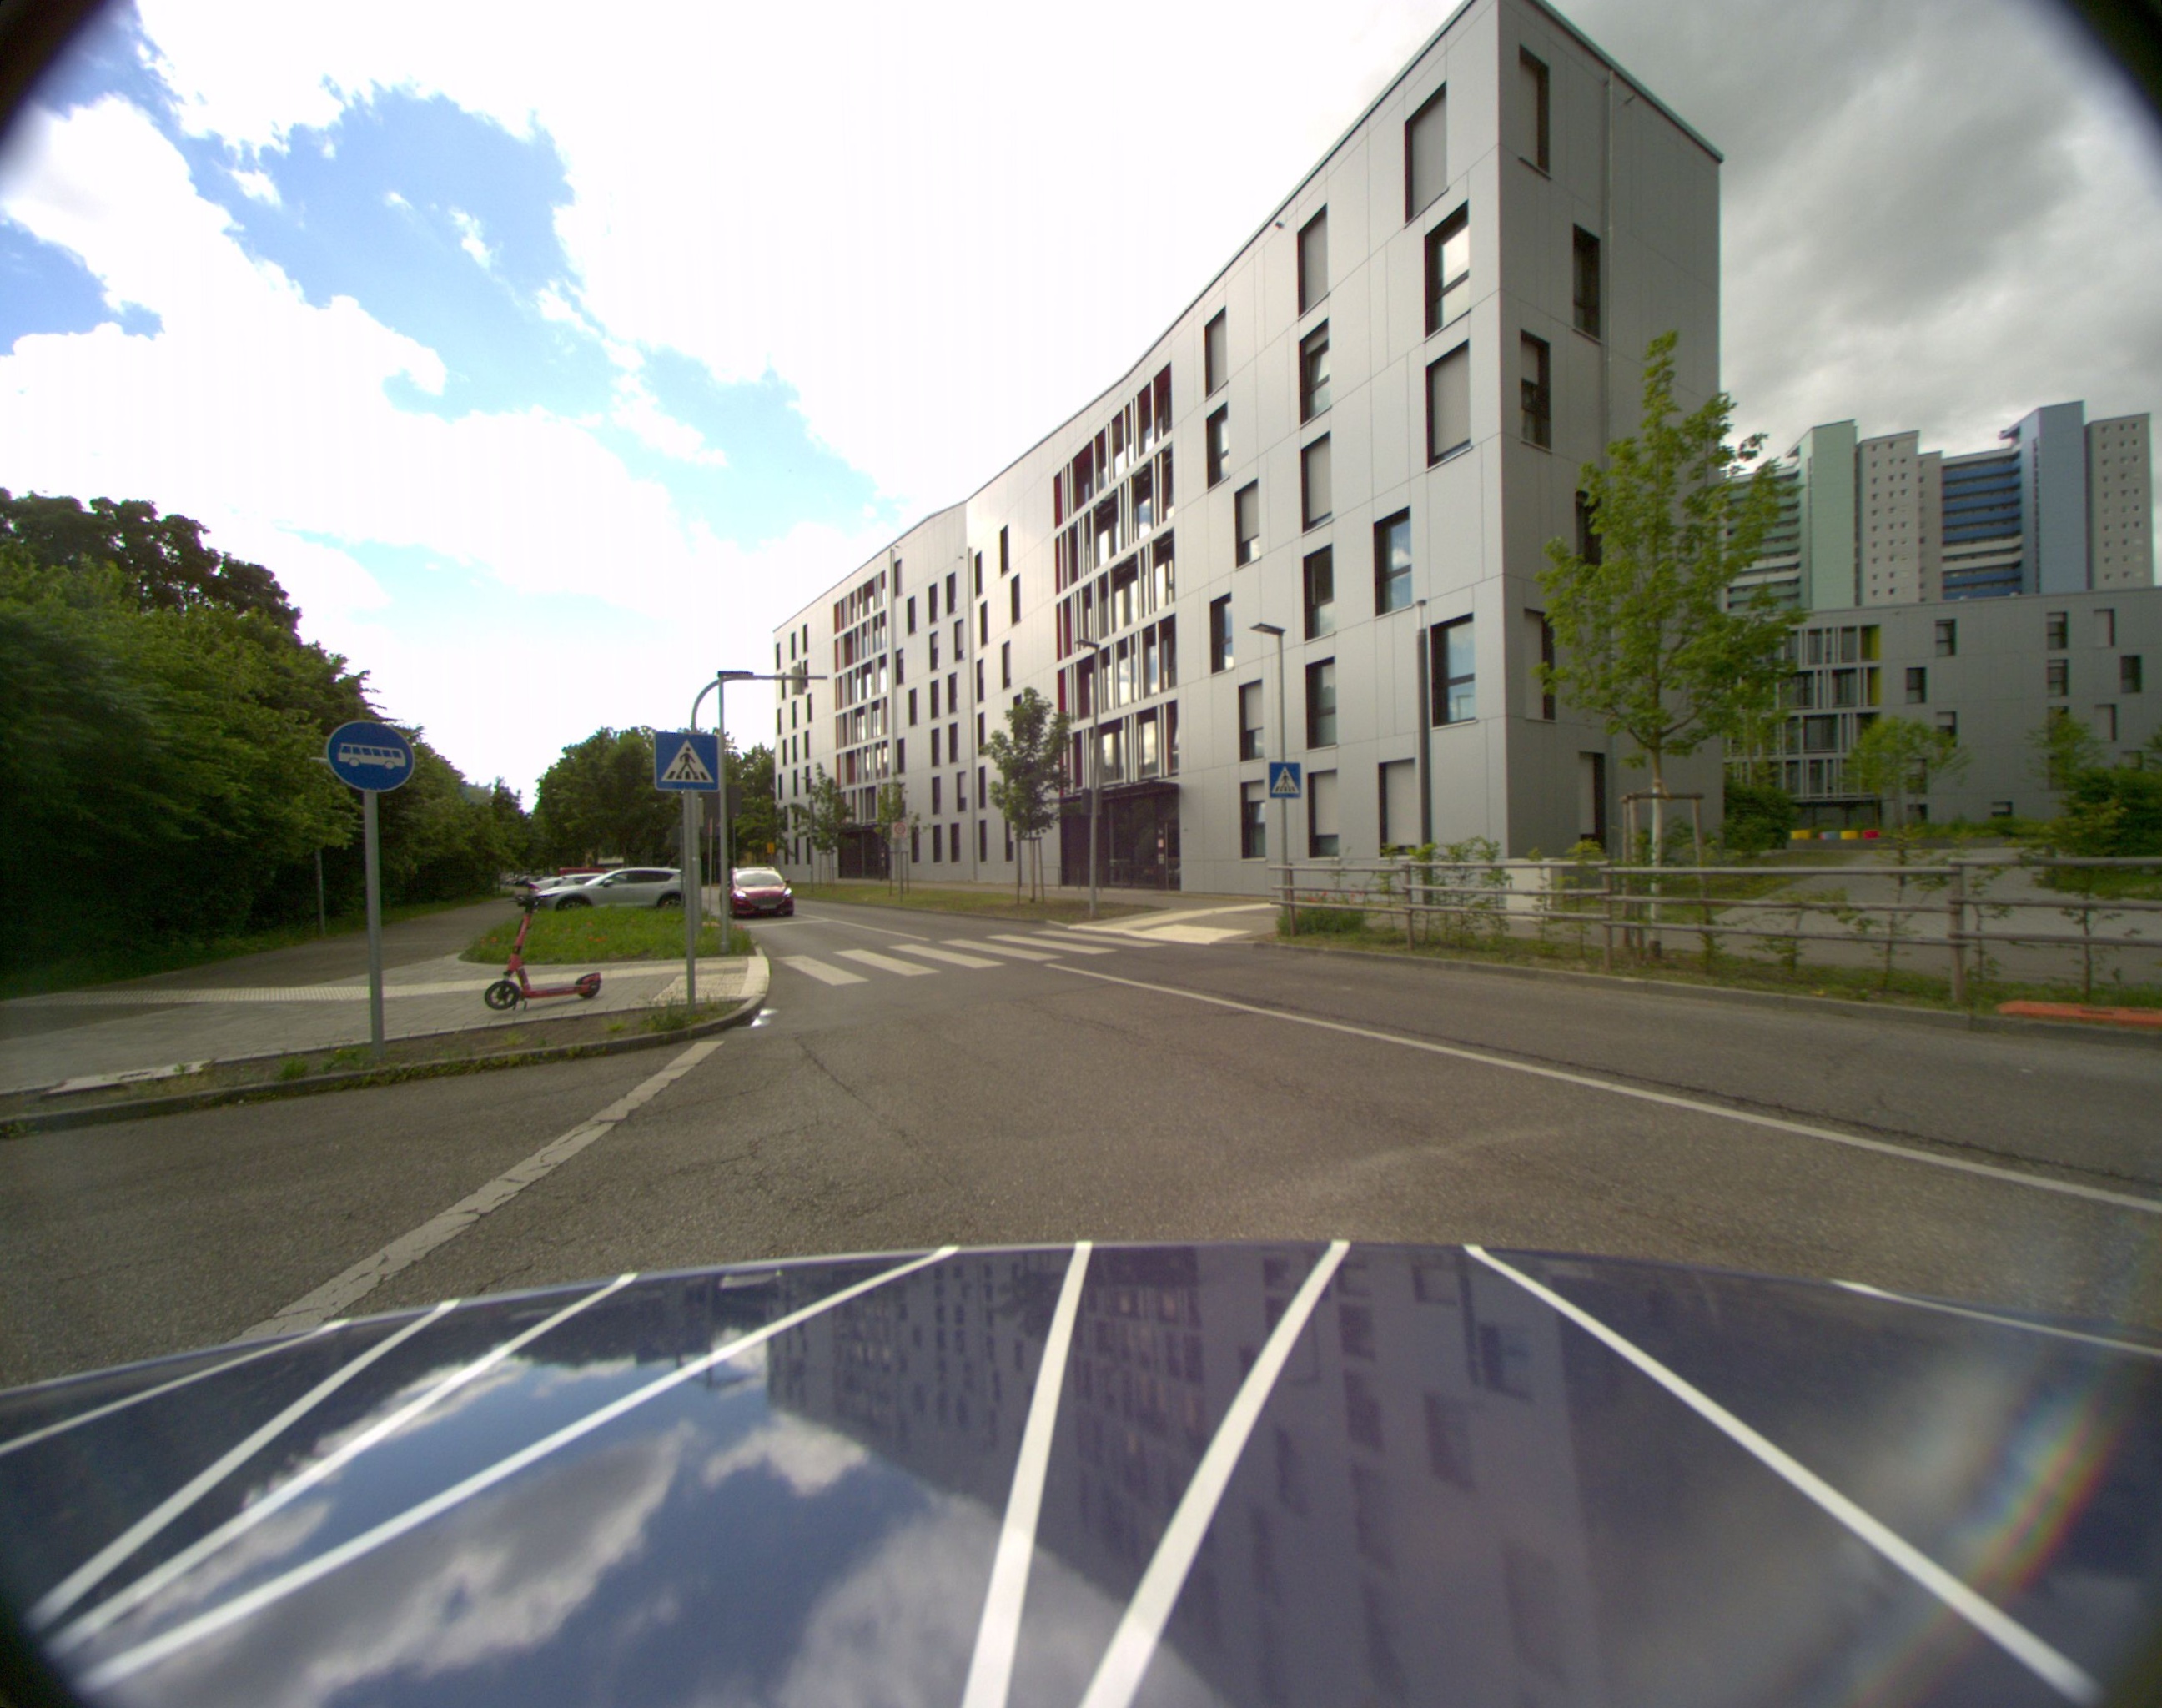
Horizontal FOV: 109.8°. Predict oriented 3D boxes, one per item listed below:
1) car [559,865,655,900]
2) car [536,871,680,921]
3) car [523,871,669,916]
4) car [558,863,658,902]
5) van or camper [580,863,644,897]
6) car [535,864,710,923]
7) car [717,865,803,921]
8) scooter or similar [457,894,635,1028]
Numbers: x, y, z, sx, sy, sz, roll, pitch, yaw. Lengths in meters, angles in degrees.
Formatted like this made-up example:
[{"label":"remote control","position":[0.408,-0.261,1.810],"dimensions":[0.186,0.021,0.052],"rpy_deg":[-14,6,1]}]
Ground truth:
[{"label":"car","position":[-27.375,1.629,43.949],"dimensions":[4.574,1.887,1.879],"rpy_deg":[1,-1,-34]},{"label":"car","position":[-16.541,1.413,26.682],"dimensions":[4.176,1.576,1.791],"rpy_deg":[-1,-1,-34]},{"label":"car","position":[-18.101,1.429,28.499],"dimensions":[4.500,1.553,1.907],"rpy_deg":[1,-1,-34]},{"label":"car","position":[-24.495,1.458,39.399],"dimensions":[4.302,1.881,1.833],"rpy_deg":[0,-1,-34]},{"label":"van or camper","position":[-36.377,1.956,58.929],"dimensions":[3.988,2.306,1.879],"rpy_deg":[-4,1,-34]},{"label":"car","position":[-14.769,1.220,24.573],"dimensions":[4.673,1.741,2.065],"rpy_deg":[1,-2,-36]},{"label":"car","position":[-10.948,1.249,25.715],"dimensions":[1.937,1.622,4.232],"rpy_deg":[-3,1,-32]},{"label":"scooter or similar","position":[-6.047,1.151,8.682],"dimensions":[0.571,1.305,1.528],"rpy_deg":[-2,0,26]}]
